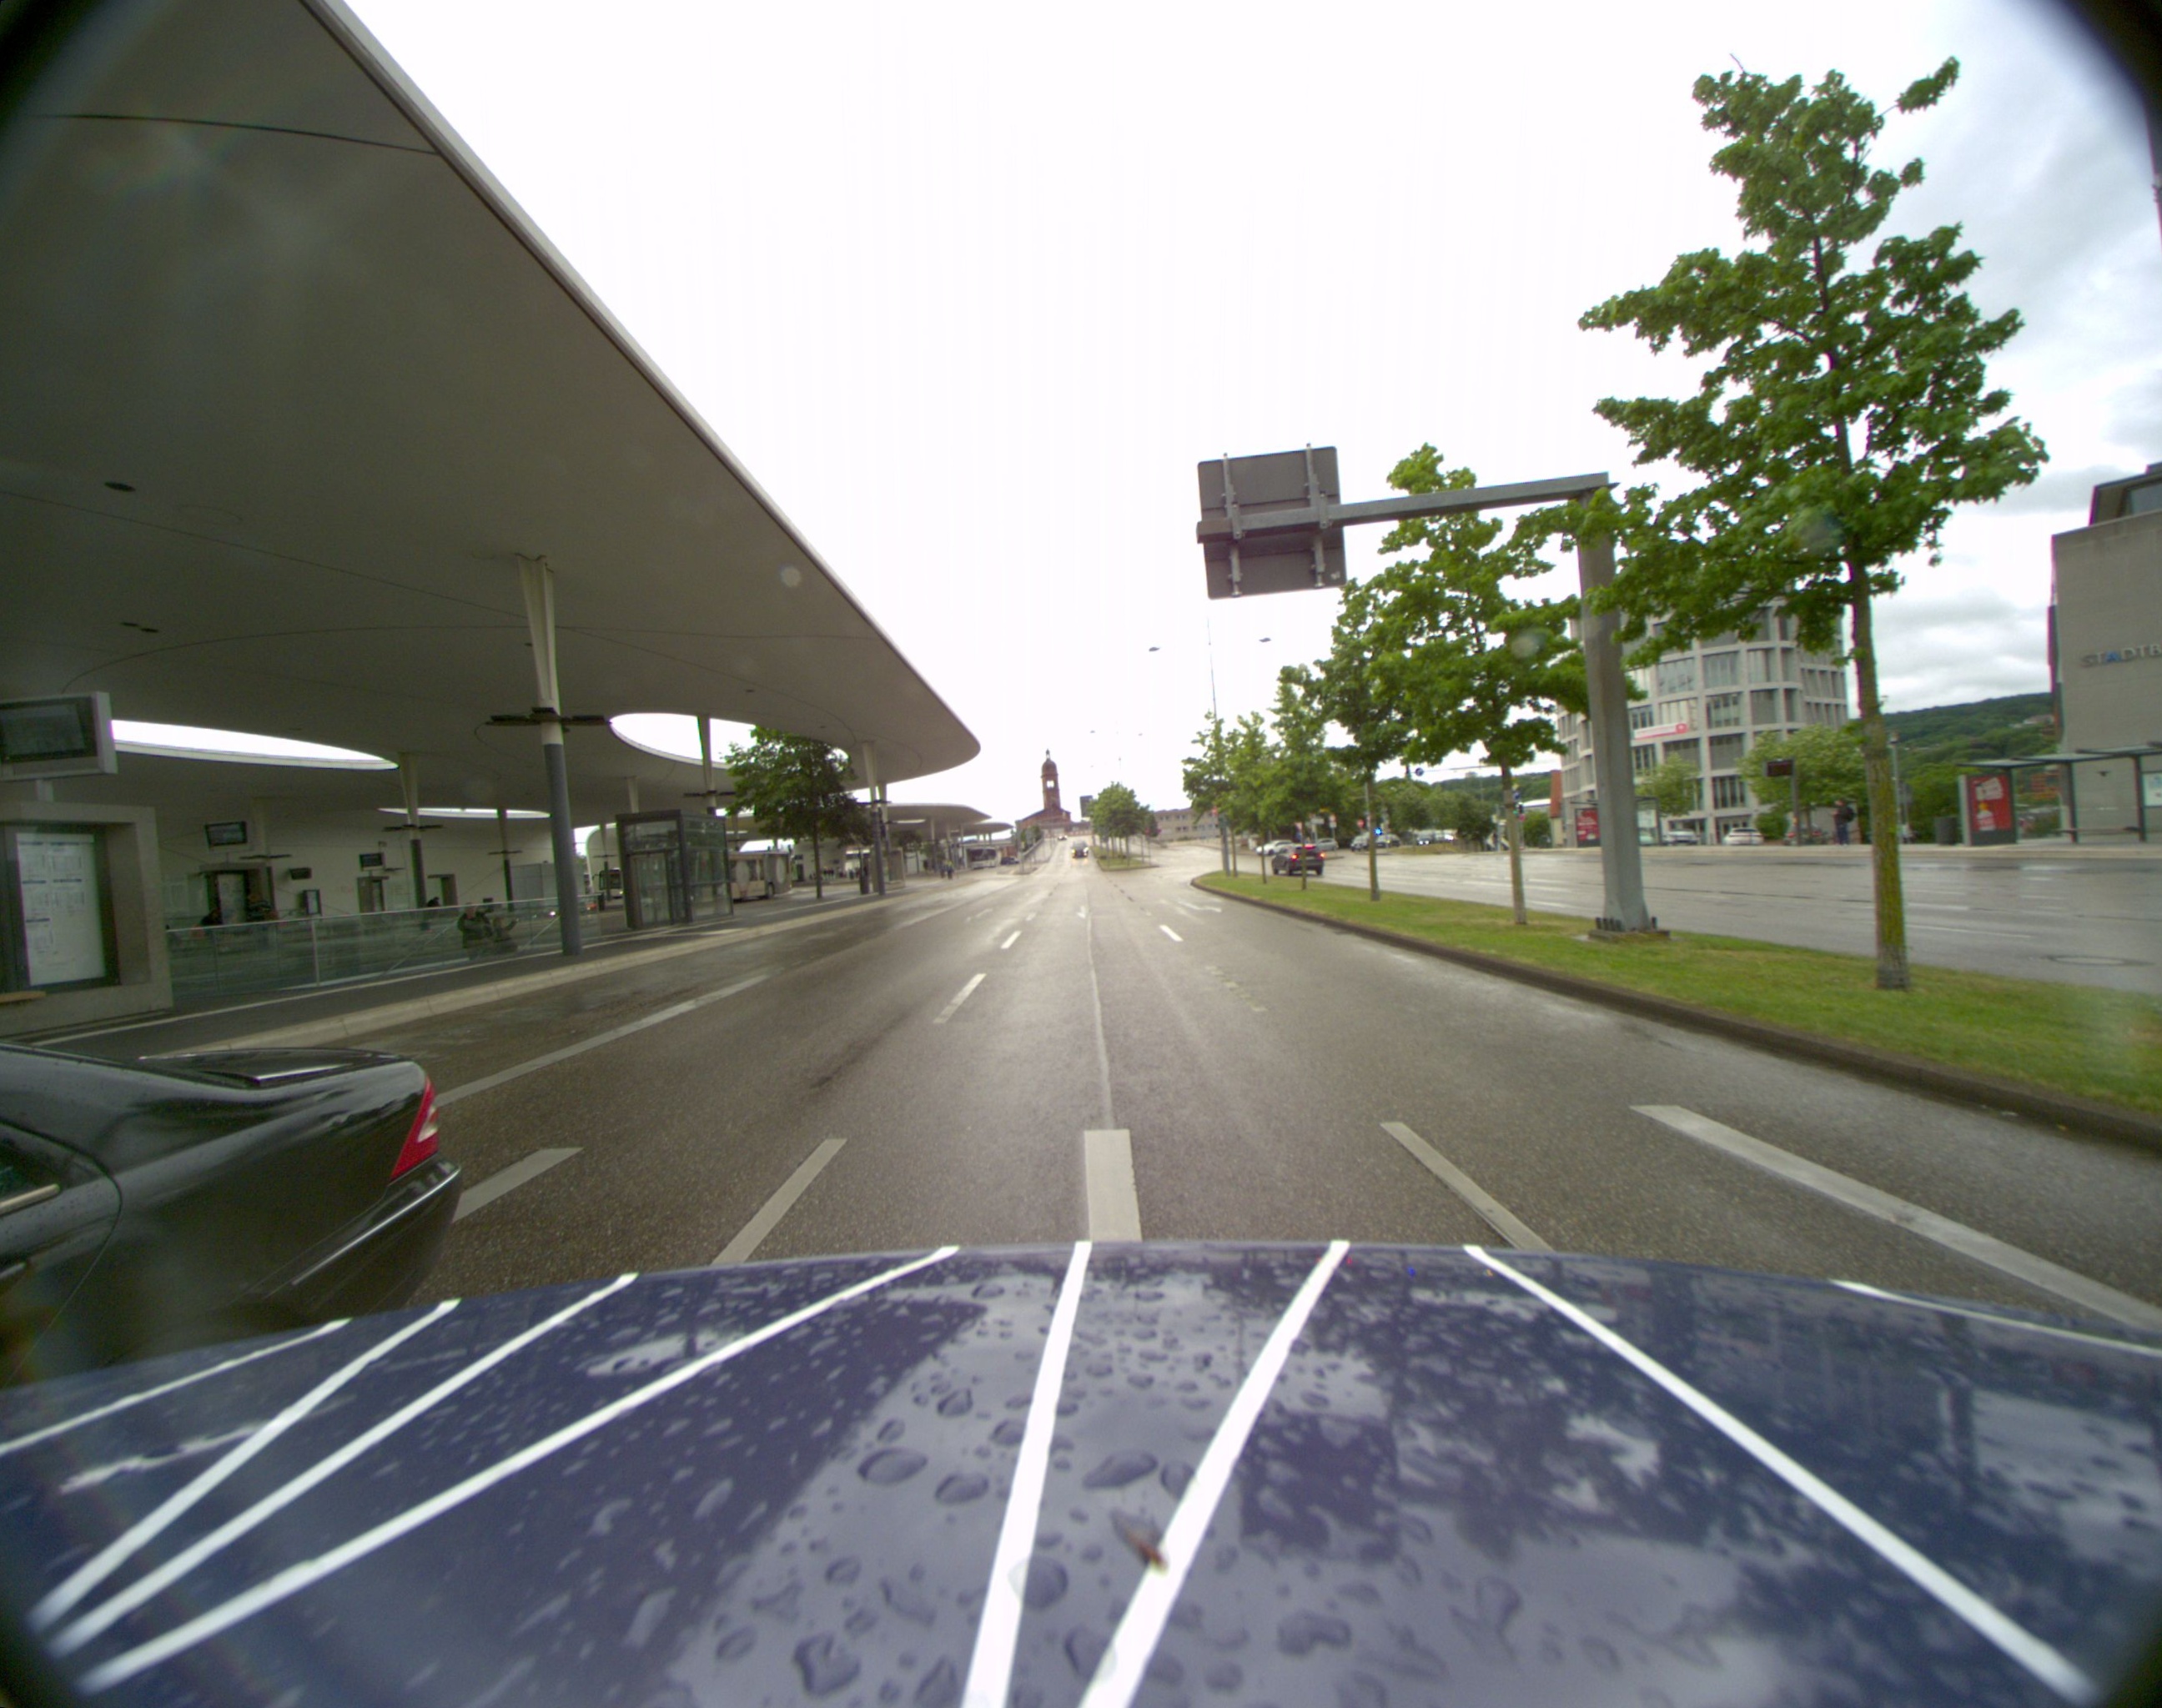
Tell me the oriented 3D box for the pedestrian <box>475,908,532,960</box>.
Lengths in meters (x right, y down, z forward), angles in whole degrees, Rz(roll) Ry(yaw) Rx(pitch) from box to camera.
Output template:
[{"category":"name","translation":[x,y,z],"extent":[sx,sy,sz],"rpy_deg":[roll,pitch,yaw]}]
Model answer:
[{"category":"pedestrian","translation":[-11.719,1.618,15.431],"extent":[0.622,0.957,0.638],"rpy_deg":[-3,1,1]}]

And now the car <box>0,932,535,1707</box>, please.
[{"category":"car","translation":[-2.833,1.179,0.349],"extent":[1.750,1.472,4.433],"rpy_deg":[-8,2,0]}]

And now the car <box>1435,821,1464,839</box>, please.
[{"category":"car","translation":[45.074,-2.953,92.920],"extent":[1.995,2.002,4.007],"rpy_deg":[-3,1,44]}]

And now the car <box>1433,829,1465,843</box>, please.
[{"category":"car","translation":[49.041,-2.427,101.194],"extent":[4.925,1.702,2.190],"rpy_deg":[-3,1,-45]}]

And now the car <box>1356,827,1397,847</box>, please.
[{"category":"car","translation":[33.656,-1.920,86.385],"extent":[5.043,2.002,2.304],"rpy_deg":[-3,1,-43]}]

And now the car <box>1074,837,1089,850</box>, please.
[{"category":"car","translation":[0.079,-1.374,101.407],"extent":[1.704,1.656,3.998],"rpy_deg":[-3,1,-2]}]

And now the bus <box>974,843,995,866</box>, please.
[{"category":"bus","translation":[-14.301,0.064,113.268],"extent":[2.675,3.111,9.712],"rpy_deg":[-3,0,-5]}]

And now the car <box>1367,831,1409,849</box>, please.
[{"category":"car","translation":[33.026,-1.514,81.715],"extent":[4.925,1.702,2.190],"rpy_deg":[-3,1,-43]}]

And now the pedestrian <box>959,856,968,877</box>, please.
[{"category":"pedestrian","translation":[-9.248,0.979,59.718],"extent":[0.557,1.614,0.552],"rpy_deg":[-3,1,1]}]

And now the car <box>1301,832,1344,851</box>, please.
[{"category":"car","translation":[26.053,-1.382,82.022],"extent":[4.004,1.783,1.996],"rpy_deg":[-3,1,-24]}]

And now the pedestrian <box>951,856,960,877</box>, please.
[{"category":"pedestrian","translation":[-9.869,1.004,59.859],"extent":[0.557,1.614,0.552],"rpy_deg":[-3,1,1]}]

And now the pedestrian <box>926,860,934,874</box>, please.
[{"category":"pedestrian","translation":[-17.731,1.500,89.341],"extent":[0.723,1.621,0.753],"rpy_deg":[-3,1,0]}]

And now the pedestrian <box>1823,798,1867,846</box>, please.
[{"category":"pedestrian","translation":[29.070,-1.213,28.921],"extent":[0.787,1.750,0.972],"rpy_deg":[-3,1,-28]}]

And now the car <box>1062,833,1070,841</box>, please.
[{"category":"car","translation":[-3.527,-3.815,174.063],"extent":[1.704,1.656,3.998],"rpy_deg":[-3,1,-2]}]

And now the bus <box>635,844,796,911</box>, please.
[{"category":"bus","translation":[-19.859,1.087,42.656],"extent":[3.003,3.088,12.353],"rpy_deg":[-3,0,0]}]

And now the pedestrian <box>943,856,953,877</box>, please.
[{"category":"pedestrian","translation":[-10.493,0.998,59.970],"extent":[0.576,1.614,0.588],"rpy_deg":[-3,1,1]}]

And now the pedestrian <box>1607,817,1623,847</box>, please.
[{"category":"pedestrian","translation":[29.506,-1.215,42.014],"extent":[0.504,1.625,0.502],"rpy_deg":[-2,1,1]}]

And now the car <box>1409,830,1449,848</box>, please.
[{"category":"car","translation":[38.680,-1.660,84.384],"extent":[4.925,1.702,2.190],"rpy_deg":[-3,1,-43]}]

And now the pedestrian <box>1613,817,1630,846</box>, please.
[{"category":"pedestrian","translation":[30.055,-1.242,42.247],"extent":[0.520,1.625,0.536],"rpy_deg":[-2,1,1]}]

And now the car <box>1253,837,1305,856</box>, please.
[{"category":"car","translation":[20.757,-0.819,79.731],"extent":[4.921,1.702,2.192],"rpy_deg":[-3,1,-21]}]

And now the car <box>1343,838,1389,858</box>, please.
[{"category":"car","translation":[28.531,-0.610,76.019],"extent":[4.925,1.702,2.190],"rpy_deg":[-3,1,-43]}]

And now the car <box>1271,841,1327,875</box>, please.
[{"category":"car","translation":[11.634,0.184,40.765],"extent":[1.826,1.630,4.600],"rpy_deg":[-3,0,3]}]

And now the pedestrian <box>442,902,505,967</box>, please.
[{"category":"pedestrian","translation":[-12.681,1.670,15.870],"extent":[0.693,1.244,0.669],"rpy_deg":[-3,1,1]}]
